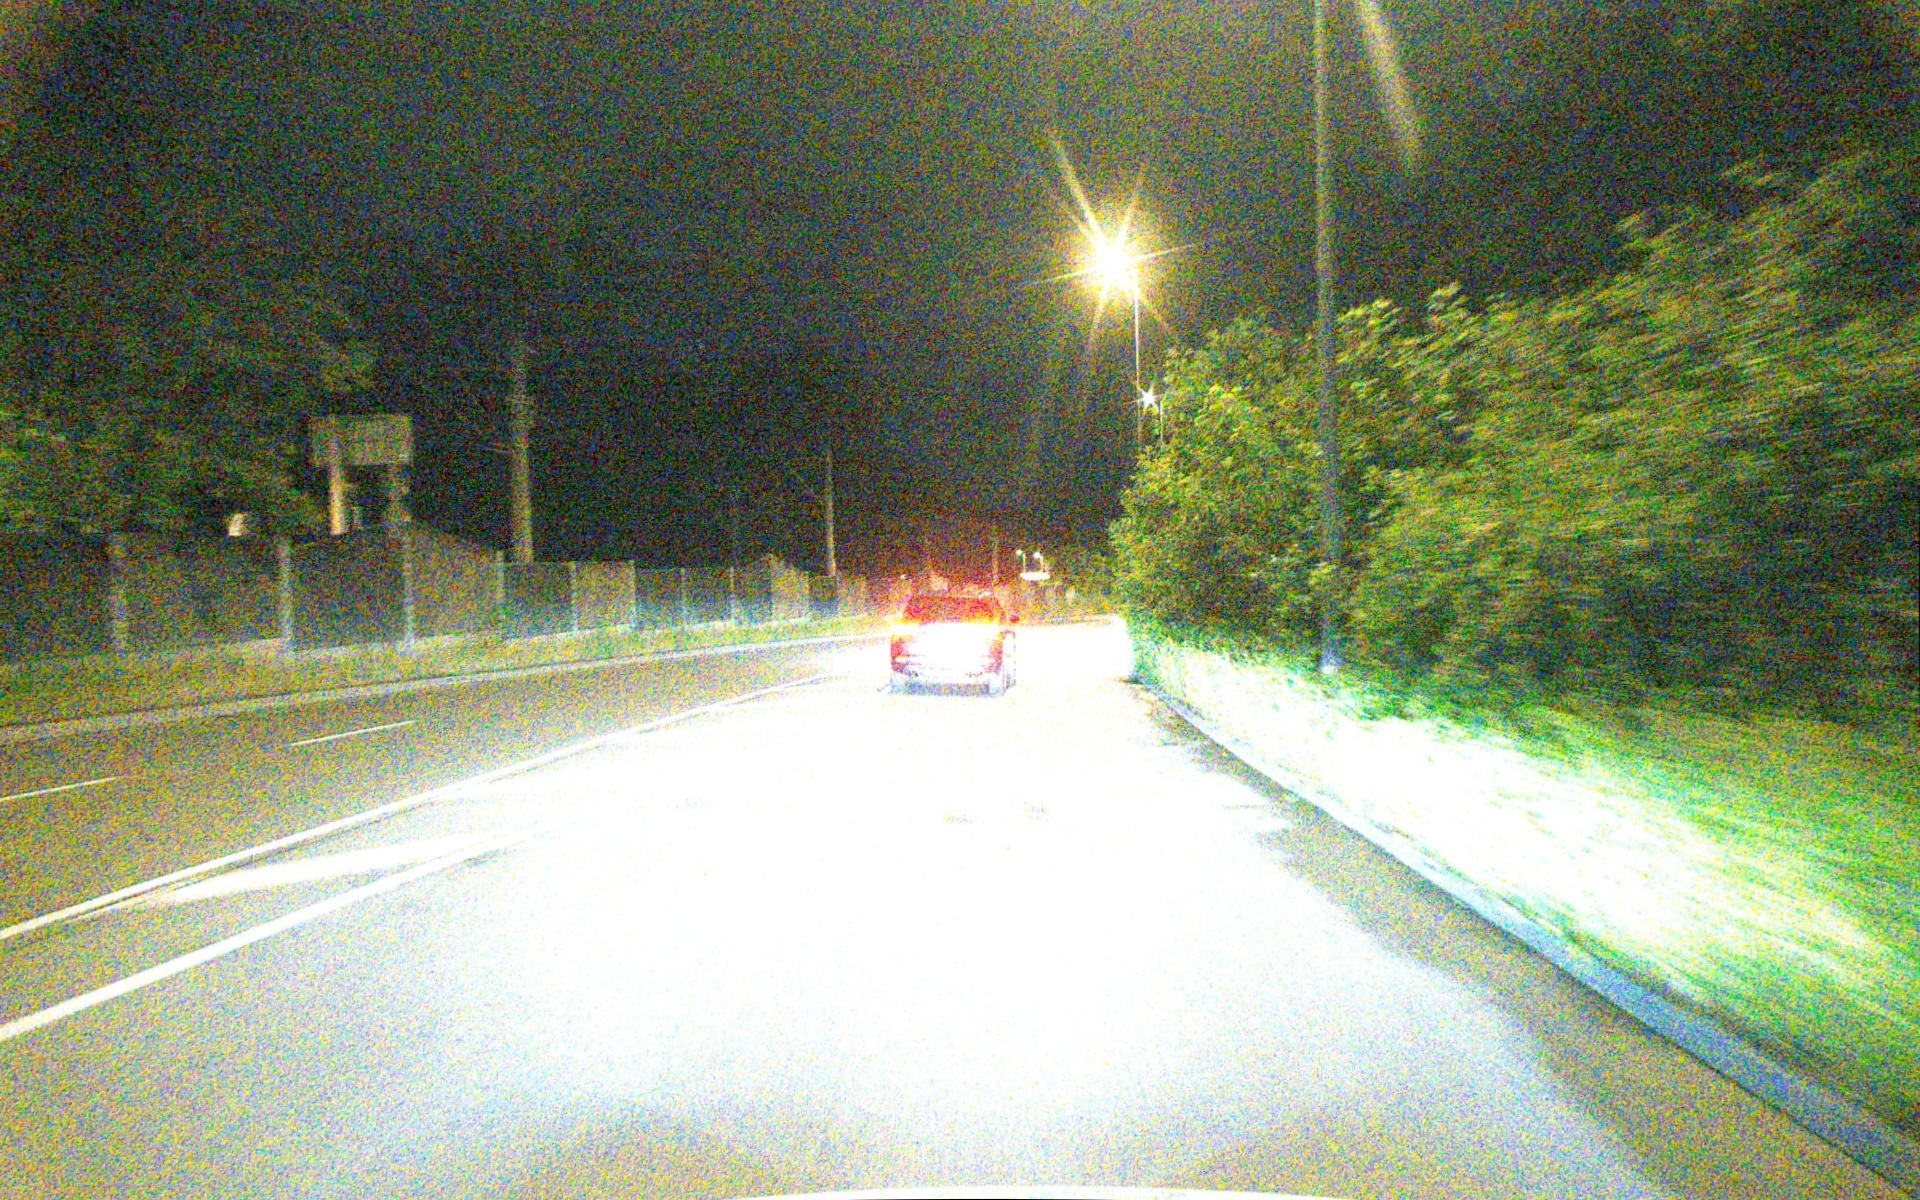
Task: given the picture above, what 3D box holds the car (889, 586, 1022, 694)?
[{"bbox_3d":[0.005,0.580,26.589,1.776,1.601,3.946,0,0,5],"label":"car"}]
